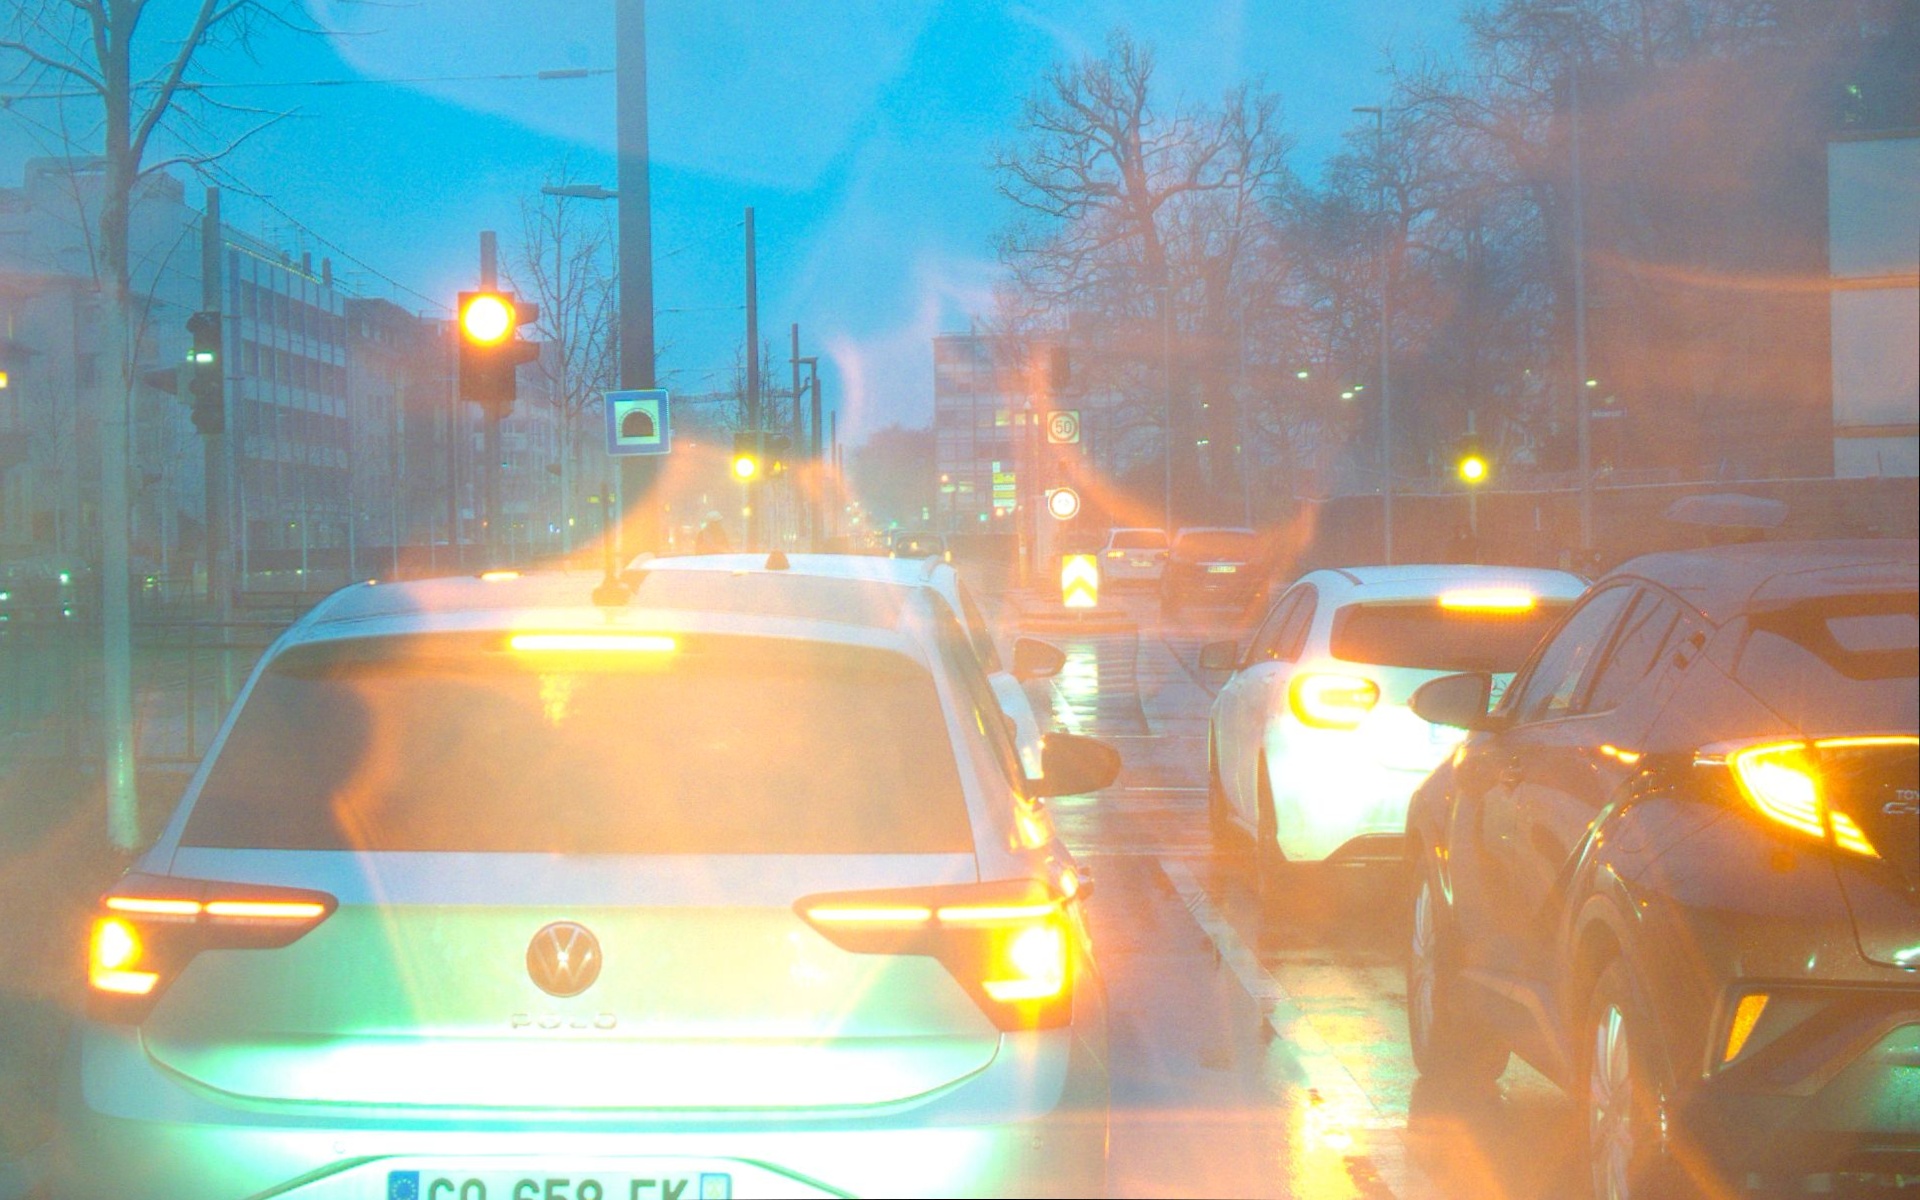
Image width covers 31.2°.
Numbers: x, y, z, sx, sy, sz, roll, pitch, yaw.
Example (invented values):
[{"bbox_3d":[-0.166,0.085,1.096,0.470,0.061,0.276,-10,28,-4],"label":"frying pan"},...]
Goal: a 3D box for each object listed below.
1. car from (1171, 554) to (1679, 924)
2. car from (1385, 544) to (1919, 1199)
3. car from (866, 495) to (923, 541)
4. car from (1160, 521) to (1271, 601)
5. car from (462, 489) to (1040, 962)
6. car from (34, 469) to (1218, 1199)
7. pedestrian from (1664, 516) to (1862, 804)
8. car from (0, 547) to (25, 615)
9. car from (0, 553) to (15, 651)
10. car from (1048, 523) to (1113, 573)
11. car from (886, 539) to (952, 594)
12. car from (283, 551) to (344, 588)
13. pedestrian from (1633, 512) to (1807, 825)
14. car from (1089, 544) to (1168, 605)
[{"bbox_3d":[1.947,0.523,15.414,1.745,1.428,3.731,1,1,0],"label":"car"},{"bbox_3d":[2.148,0.632,7.998,1.800,1.505,3.895,-1,1,0],"label":"car"},{"bbox_3d":[-2.078,-2.625,110.097,1.737,1.415,3.804,-1,1,0],"label":"car"},{"bbox_3d":[4.699,-0.742,63.593,1.737,1.415,3.703,-1,1,0],"label":"car"},{"bbox_3d":[-0.673,0.344,13.147,1.799,1.461,4.586,-1,1,0],"label":"car"},{"bbox_3d":[-0.595,0.535,6.948,1.693,1.528,4.001,0,1,-3],"label":"car"},{"bbox_3d":[5.784,0.411,24.799,0.958,2.007,1.008,-1,1,-23],"label":"pedestrian"},{"bbox_3d":[-23.851,-0.467,82.064,1.950,1.597,4.000,1,1,0],"label":"car"},{"bbox_3d":[-16.687,0.037,55.197,1.993,1.597,4.000,1,1,-1],"label":"car"},{"bbox_3d":[3.546,-1.548,102.009,1.737,1.415,4.146,-1,1,0],"label":"car"},{"bbox_3d":[-1.119,-0.946,95.053,1.737,1.415,4.394,-1,1,0],"label":"car"},{"bbox_3d":[-28.934,-1.370,153.946,1.950,1.597,4.000,1,1,0],"label":"car"},{"bbox_3d":[5.003,0.432,22.692,0.959,2.007,1.007,-1,1,4],"label":"pedestrian"},{"bbox_3d":[4.136,-0.656,84.848,1.737,1.415,3.703,-1,1,0],"label":"car"}]
